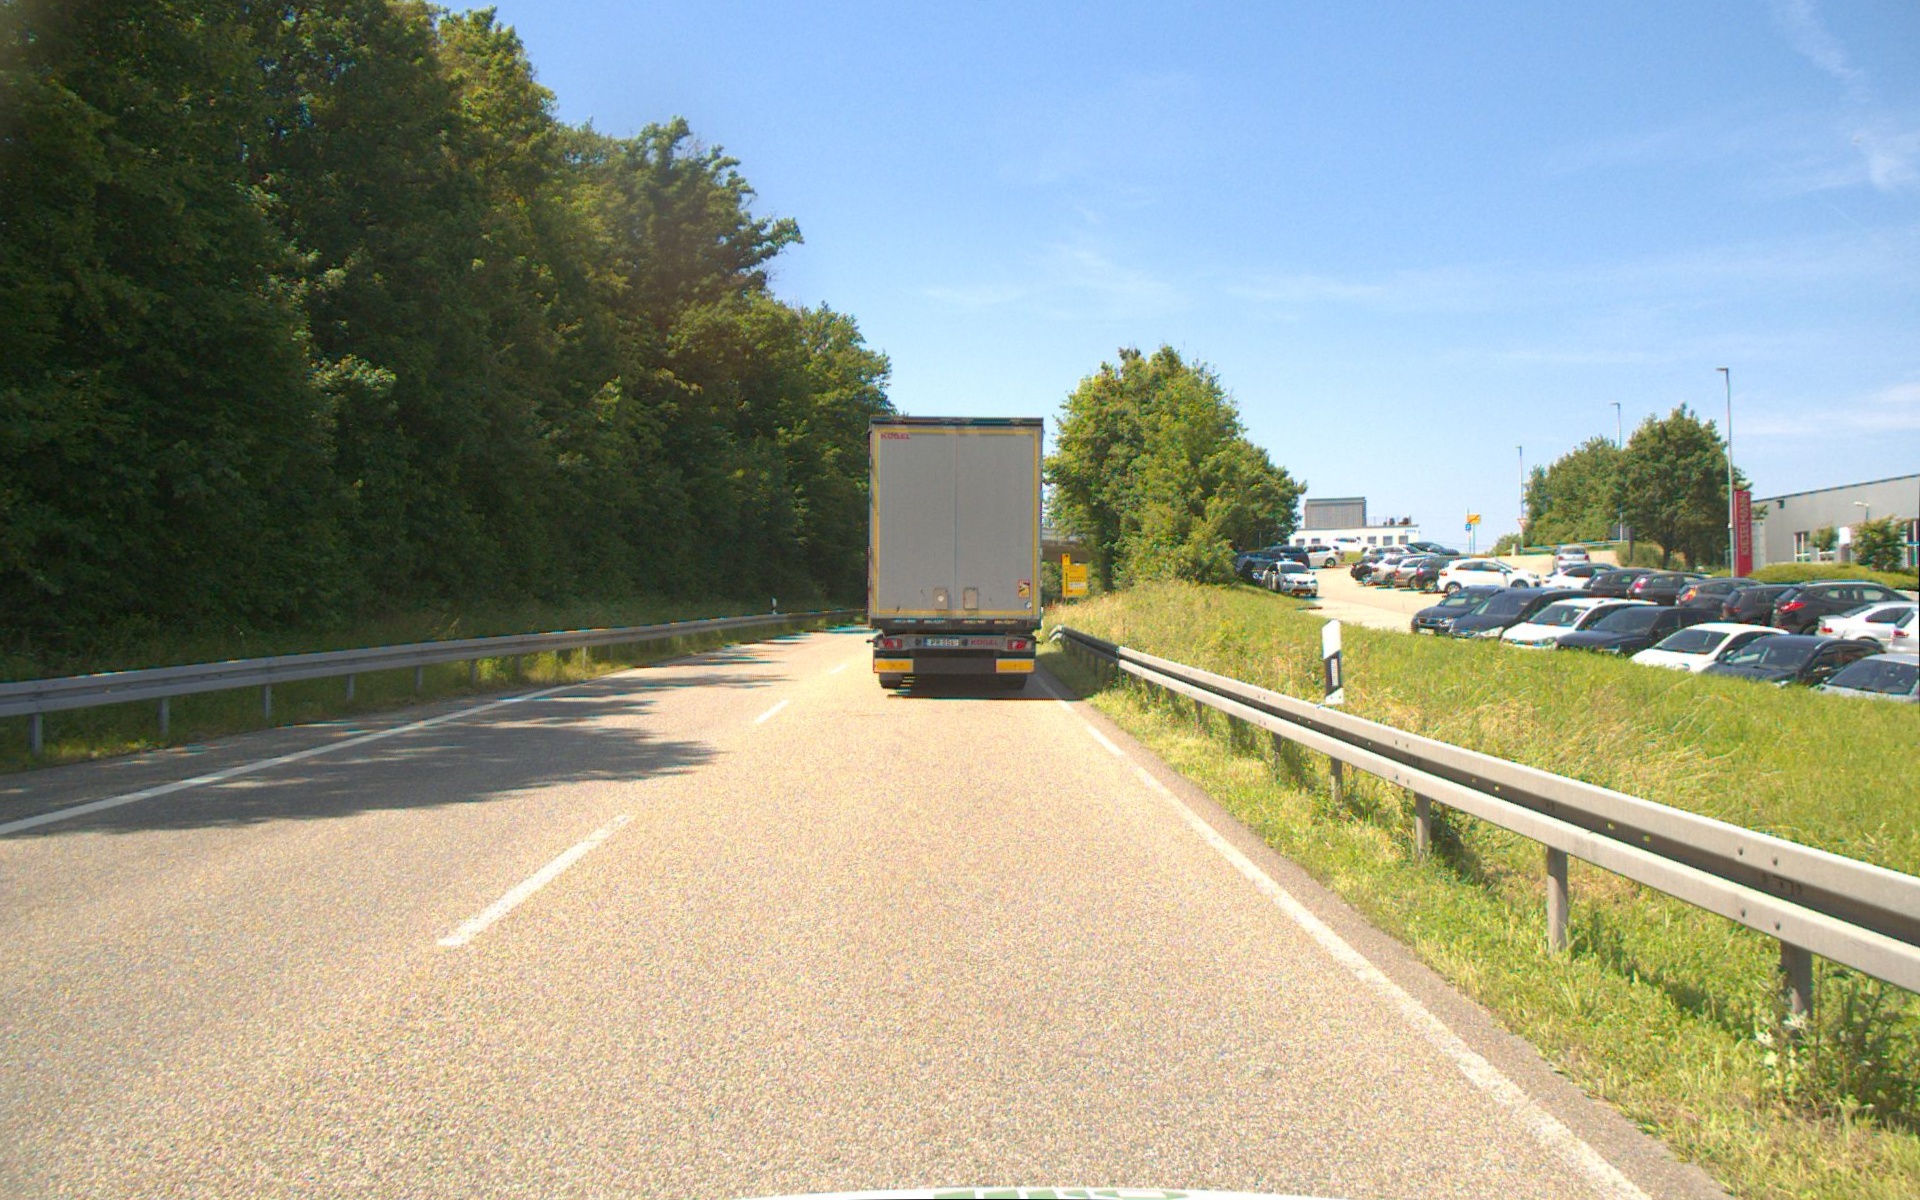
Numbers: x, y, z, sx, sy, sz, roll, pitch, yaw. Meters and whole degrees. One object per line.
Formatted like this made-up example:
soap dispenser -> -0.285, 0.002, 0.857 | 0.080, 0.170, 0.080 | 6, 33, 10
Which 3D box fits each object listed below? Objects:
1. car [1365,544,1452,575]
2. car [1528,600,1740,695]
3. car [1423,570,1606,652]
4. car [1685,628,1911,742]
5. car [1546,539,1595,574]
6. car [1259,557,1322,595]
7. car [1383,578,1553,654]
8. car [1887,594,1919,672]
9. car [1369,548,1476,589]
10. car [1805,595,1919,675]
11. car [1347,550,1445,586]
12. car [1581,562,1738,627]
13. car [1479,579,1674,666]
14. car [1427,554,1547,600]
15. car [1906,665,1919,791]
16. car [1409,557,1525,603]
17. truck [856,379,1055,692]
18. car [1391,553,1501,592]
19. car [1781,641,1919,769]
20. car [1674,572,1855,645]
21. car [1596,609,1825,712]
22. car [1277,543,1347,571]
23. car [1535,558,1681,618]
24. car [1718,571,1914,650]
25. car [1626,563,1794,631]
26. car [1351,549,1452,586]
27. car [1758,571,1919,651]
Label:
car -> 25.823, -2.322, 95.242 | 4.491, 1.657, 1.815 | 2, 0, 33
car -> 14.429, 1.015, 35.369 | 4.317, 1.714, 1.870 | 3, 3, -30
car -> 13.857, 0.281, 41.317 | 4.317, 1.714, 1.870 | 3, 3, -30
car -> 14.888, 1.483, 29.310 | 4.333, 1.714, 1.863 | 3, 3, -39
car -> 31.822, -2.263, 86.177 | 1.773, 1.691, 3.993 | 2, 0, 29
car -> 14.036, -1.030, 70.415 | 1.593, 1.376, 3.708 | 4, 2, -5
car -> 13.697, 0.433, 44.558 | 4.317, 1.714, 1.870 | 3, 3, -30
car -> 22.739, 0.762, 35.948 | 4.486, 1.546, 1.818 | 1, 5, 29
car -> 21.028, -1.455, 75.189 | 4.477, 1.657, 1.821 | 3, 3, 19
car -> 22.683, 0.900, 39.242 | 4.484, 1.656, 1.819 | 6, 3, 25
car -> 21.434, -1.576, 81.333 | 4.477, 1.657, 1.821 | 2, 0, 20
car -> 22.573, -0.194, 53.401 | 4.484, 1.656, 1.819 | 6, 3, 25
car -> 14.439, 0.533, 38.683 | 4.317, 1.714, 1.870 | 3, 3, -30
car -> 21.154, -0.923, 66.347 | 4.477, 1.657, 1.821 | 3, 2, 19
car -> 15.296, 1.893, 23.310 | 4.333, 1.714, 1.863 | 3, 3, -39
car -> 21.161, -0.854, 68.984 | 4.477, 1.657, 1.821 | 3, 2, 19
truck -> -0.114, -0.953, 28.405 | 2.807, 4.435, 9.787 | 0, 0, -1
car -> 21.146, -1.201, 71.939 | 4.476, 1.657, 1.821 | 1, 1, 20
car -> 15.131, 1.637, 26.434 | 4.333, 1.714, 1.863 | 3, 3, -39
car -> 23.005, 0.219, 47.469 | 4.484, 1.656, 1.819 | 6, 3, 25
car -> 14.800, 1.209, 32.569 | 4.317, 1.714, 1.870 | 3, 3, -30
car -> 23.152, -2.846, 108.685 | 4.317, 1.714, 1.870 | -1, 5, -30
car -> 22.313, -0.419, 56.961 | 4.484, 1.656, 1.819 | 6, 3, 25
car -> 22.843, 0.244, 44.333 | 4.484, 1.656, 1.819 | 6, 3, 25
car -> 22.912, -0.106, 50.634 | 4.484, 1.656, 1.819 | 6, 3, 25
car -> 20.920, -1.531, 78.344 | 4.476, 1.657, 1.821 | 1, -1, 19
car -> 22.734, 0.293, 41.783 | 4.484, 1.656, 1.819 | 6, 3, 25
